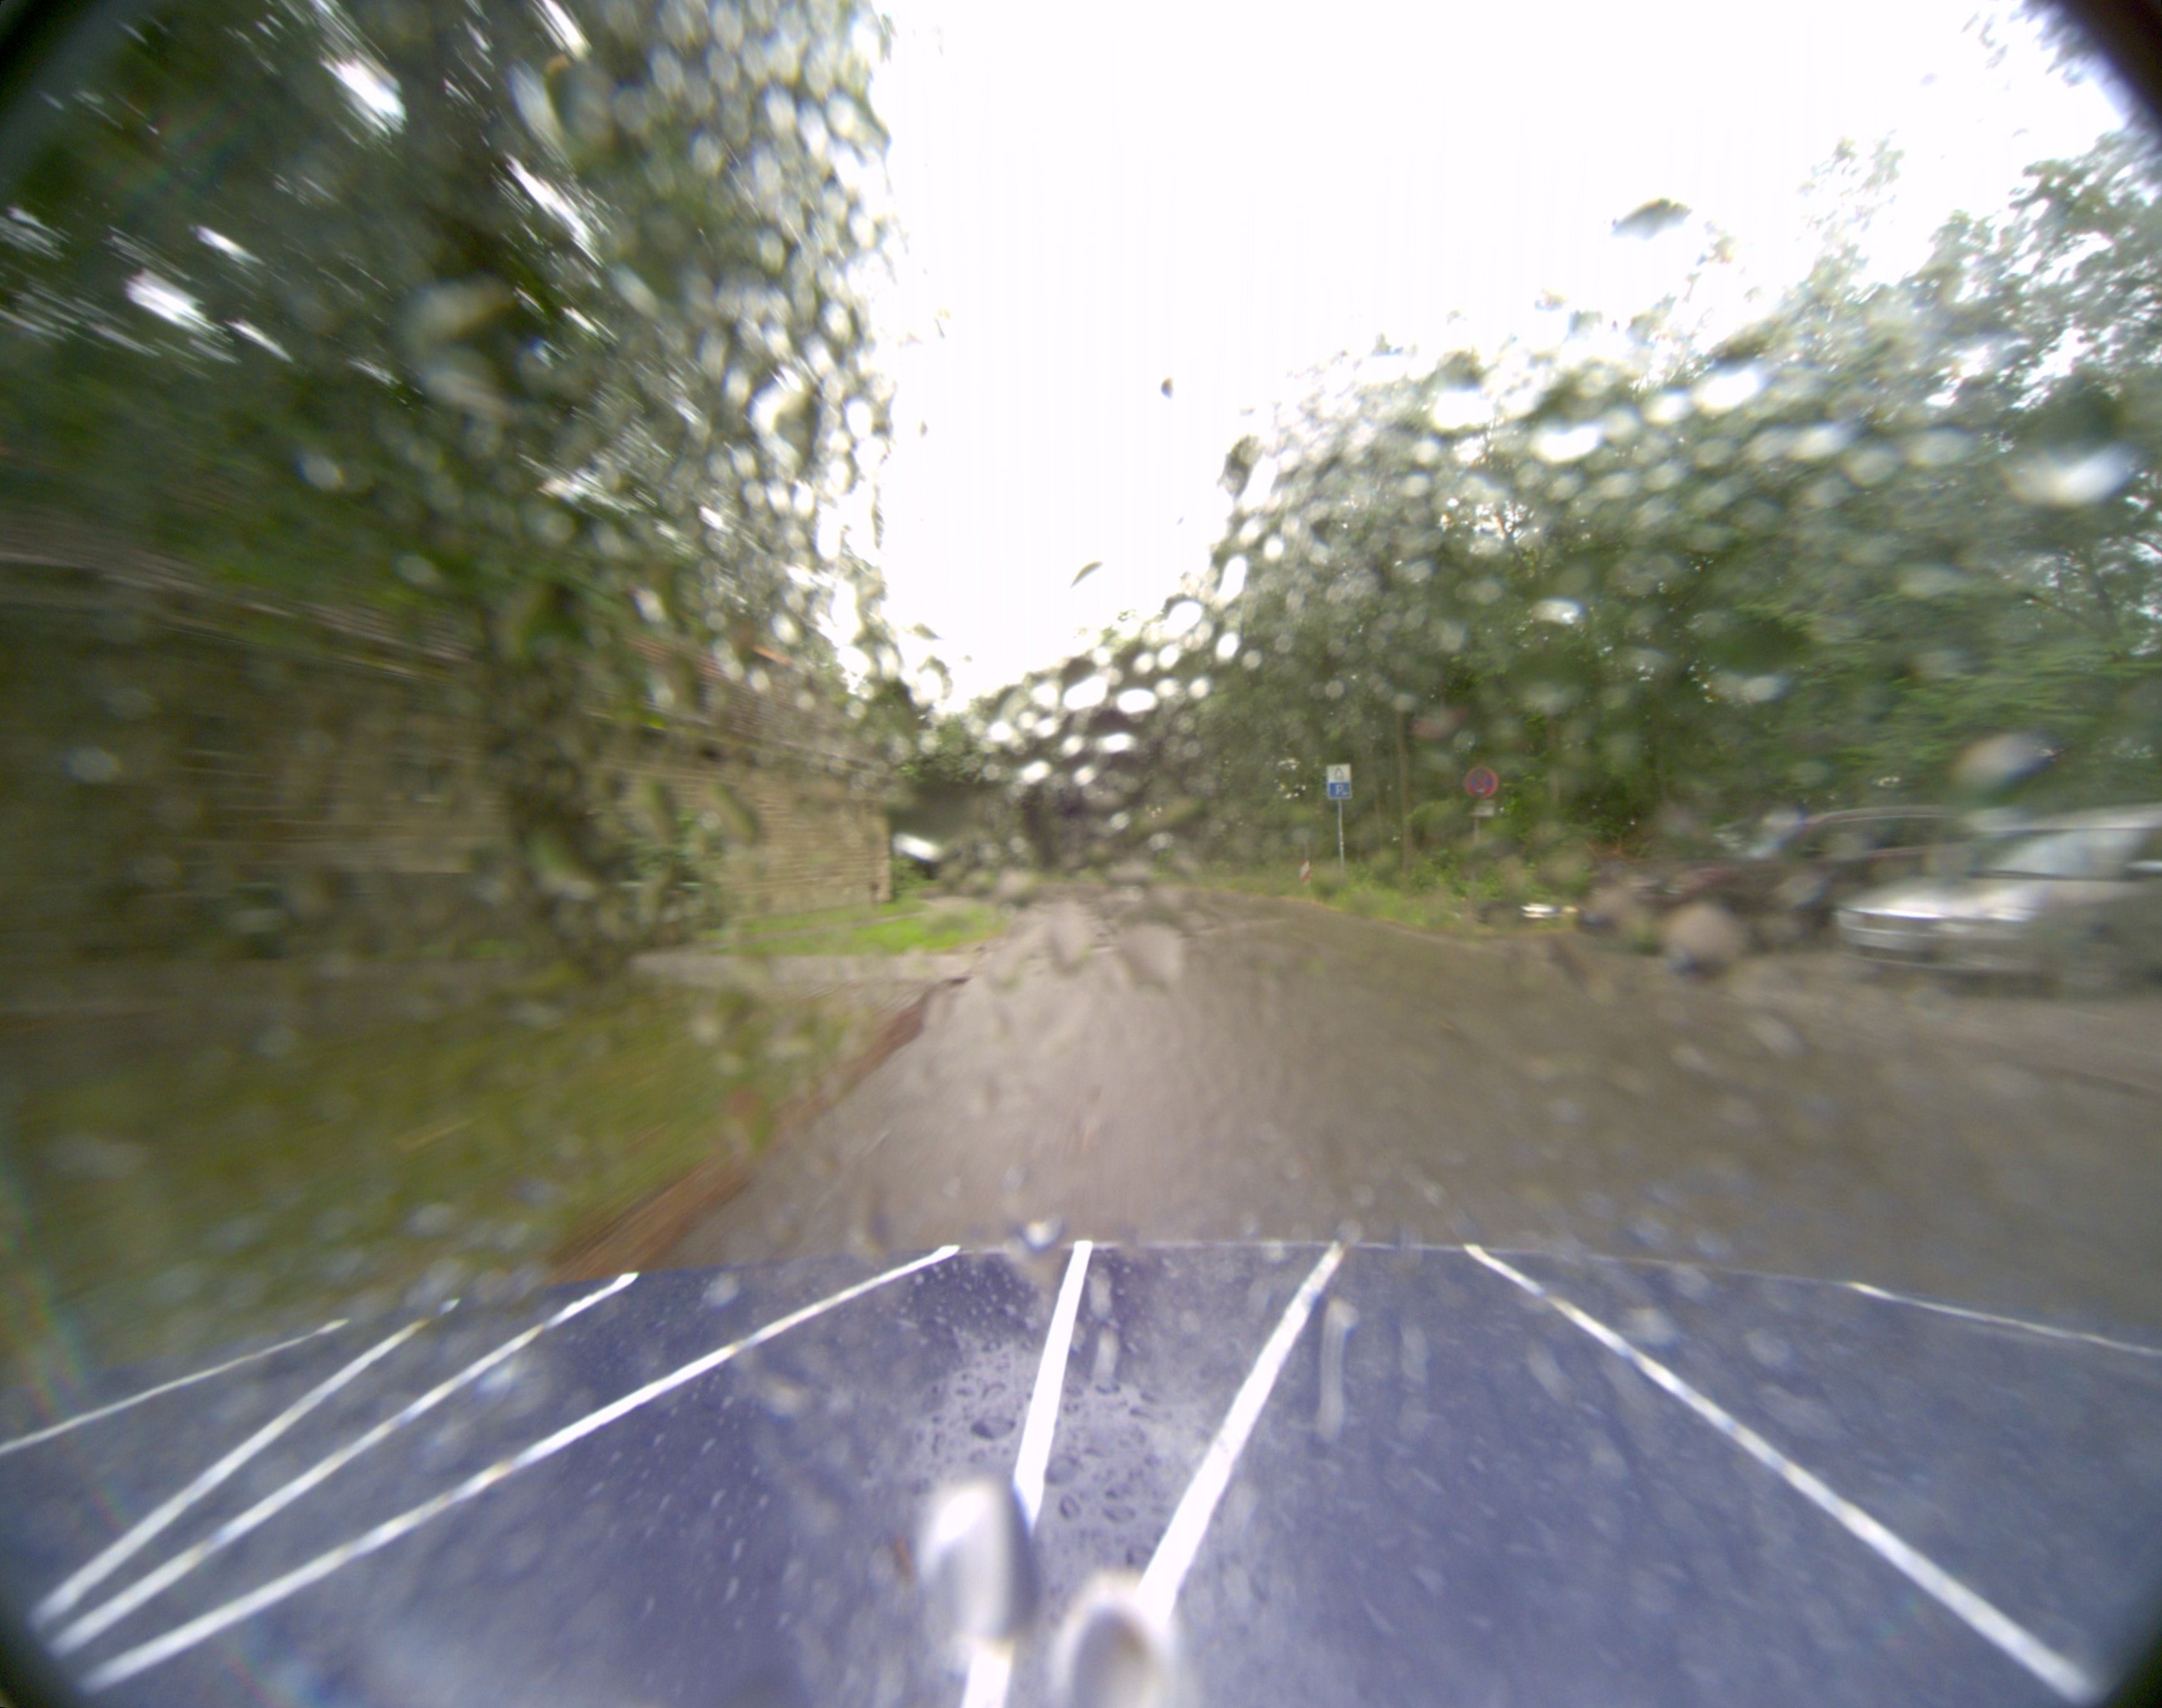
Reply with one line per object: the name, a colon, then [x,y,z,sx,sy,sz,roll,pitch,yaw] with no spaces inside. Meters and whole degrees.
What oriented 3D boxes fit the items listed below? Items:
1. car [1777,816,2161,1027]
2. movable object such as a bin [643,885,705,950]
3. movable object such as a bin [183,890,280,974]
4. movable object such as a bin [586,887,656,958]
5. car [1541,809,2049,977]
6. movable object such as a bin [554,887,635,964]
car: [9.354,0.494,6.991,4.146,1.545,1.774,-4,0,1]
movable object such as a bin: [-7.099,1.095,13.278,0.697,1.033,0.576,4,1,10]
movable object such as a bin: [-10.187,0.920,9.123,0.552,0.901,0.534,4,1,10]
movable object such as a bin: [-7.264,1.068,12.021,0.697,1.033,0.576,4,1,10]
car: [9.062,0.477,9.975,4.837,1.667,1.876,-4,0,0]
movable object such as a bin: [-7.245,1.049,11.337,0.697,1.033,0.661,4,1,10]
